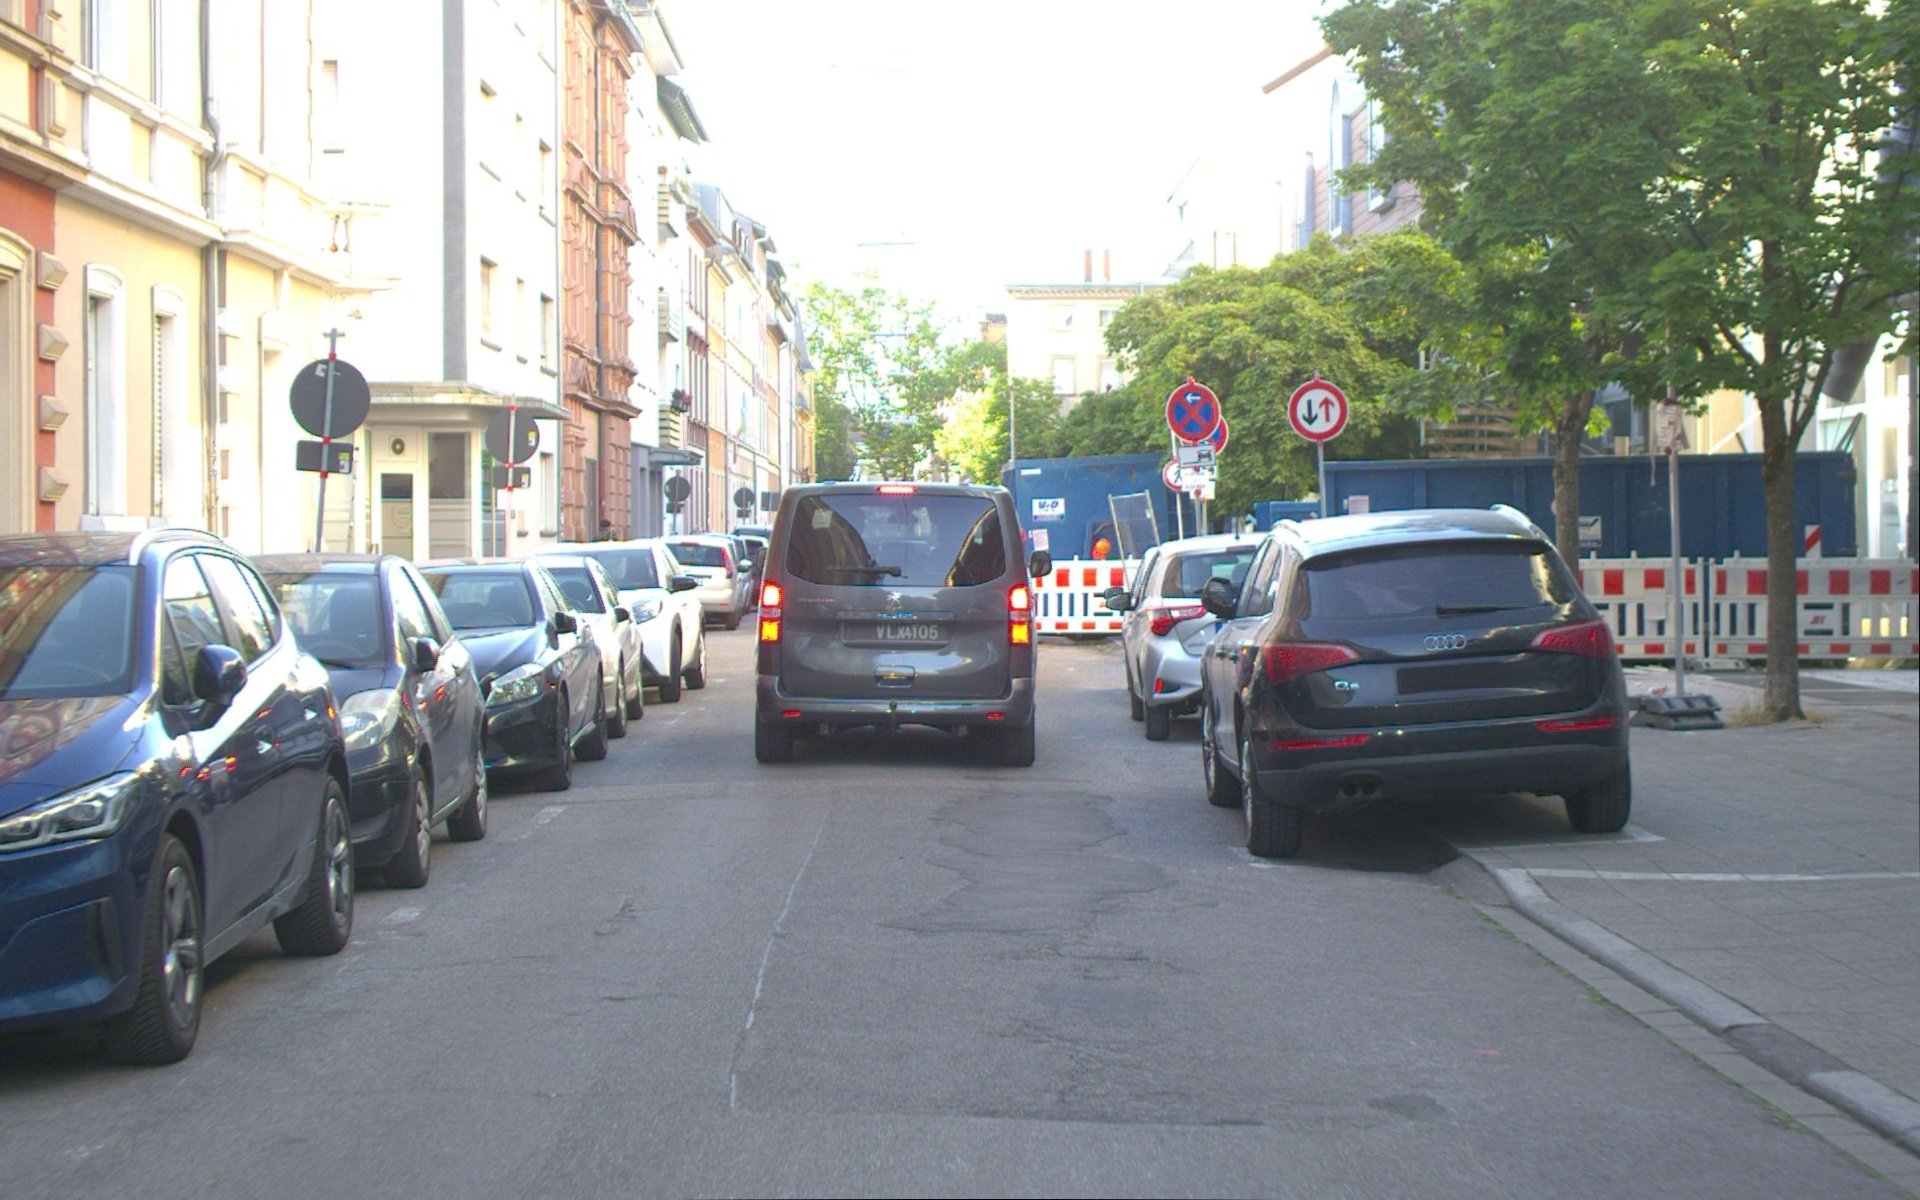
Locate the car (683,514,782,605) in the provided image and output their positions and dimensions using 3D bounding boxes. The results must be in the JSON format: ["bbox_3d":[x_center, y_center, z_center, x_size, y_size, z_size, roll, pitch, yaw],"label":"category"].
[{"bbox_3d":[-4.767,-0.852,71.967,1.891,1.713,3.754,4,0,-4],"label":"car"}]

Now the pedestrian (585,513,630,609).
[{"bbox_3d":[-6.115,-0.682,59.660,0.740,1.659,0.704,0,1,-5],"label":"pedestrian"}]

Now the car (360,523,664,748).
[{"bbox_3d":[-3.474,0.216,27.414,1.920,1.554,4.267,-2,2,-1],"label":"car"}]

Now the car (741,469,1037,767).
[{"bbox_3d":[-0.515,0.092,24.028,1.865,1.880,4.236,1,1,-2],"label":"car"}]

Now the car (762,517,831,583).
[{"bbox_3d":[-5.093,-1.545,106.615,1.891,1.840,4.349,4,0,-4],"label":"car"}]

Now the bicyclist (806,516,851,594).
[{"bbox_3d":[-2.411,-0.829,63.327,0.733,1.407,0.940,1,1,2],"label":"bicyclist"}]

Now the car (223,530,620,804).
[{"bbox_3d":[-3.321,0.342,21.994,1.920,1.479,4.267,-2,2,-1],"label":"car"}]

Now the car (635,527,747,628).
[{"bbox_3d":[-4.363,-0.373,55.903,1.656,1.455,3.418,4,0,-4],"label":"car"}]

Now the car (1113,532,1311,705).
[{"bbox_3d":[2.299,0.128,32.141,1.676,1.470,3.729,-2,1,2],"label":"car"}]

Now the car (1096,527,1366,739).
[{"bbox_3d":[2.084,0.204,27.411,1.676,1.520,3.971,-2,1,-2],"label":"car"}]

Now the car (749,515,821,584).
[{"bbox_3d":[-5.181,-1.493,101.515,1.891,1.840,4.349,4,0,-4],"label":"car"}]

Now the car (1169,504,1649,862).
[{"bbox_3d":[2.230,0.343,18.249,1.885,1.617,4.434,-2,1,-1],"label":"car"}]

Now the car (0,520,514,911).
[{"bbox_3d":[-3.343,0.438,16.521,1.901,1.554,4.241,-2,2,-1],"label":"car"}]

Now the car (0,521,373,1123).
[{"bbox_3d":[-3.212,0.568,11.177,1.920,1.554,4.267,-2,2,-1],"label":"car"}]

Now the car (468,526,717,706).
[{"bbox_3d":[-3.426,0.099,32.817,1.920,1.502,4.267,-2,2,-1],"label":"car"}]

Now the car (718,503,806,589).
[{"bbox_3d":[-4.715,-1.274,81.334,1.891,1.840,4.349,4,0,-4],"label":"car"}]
